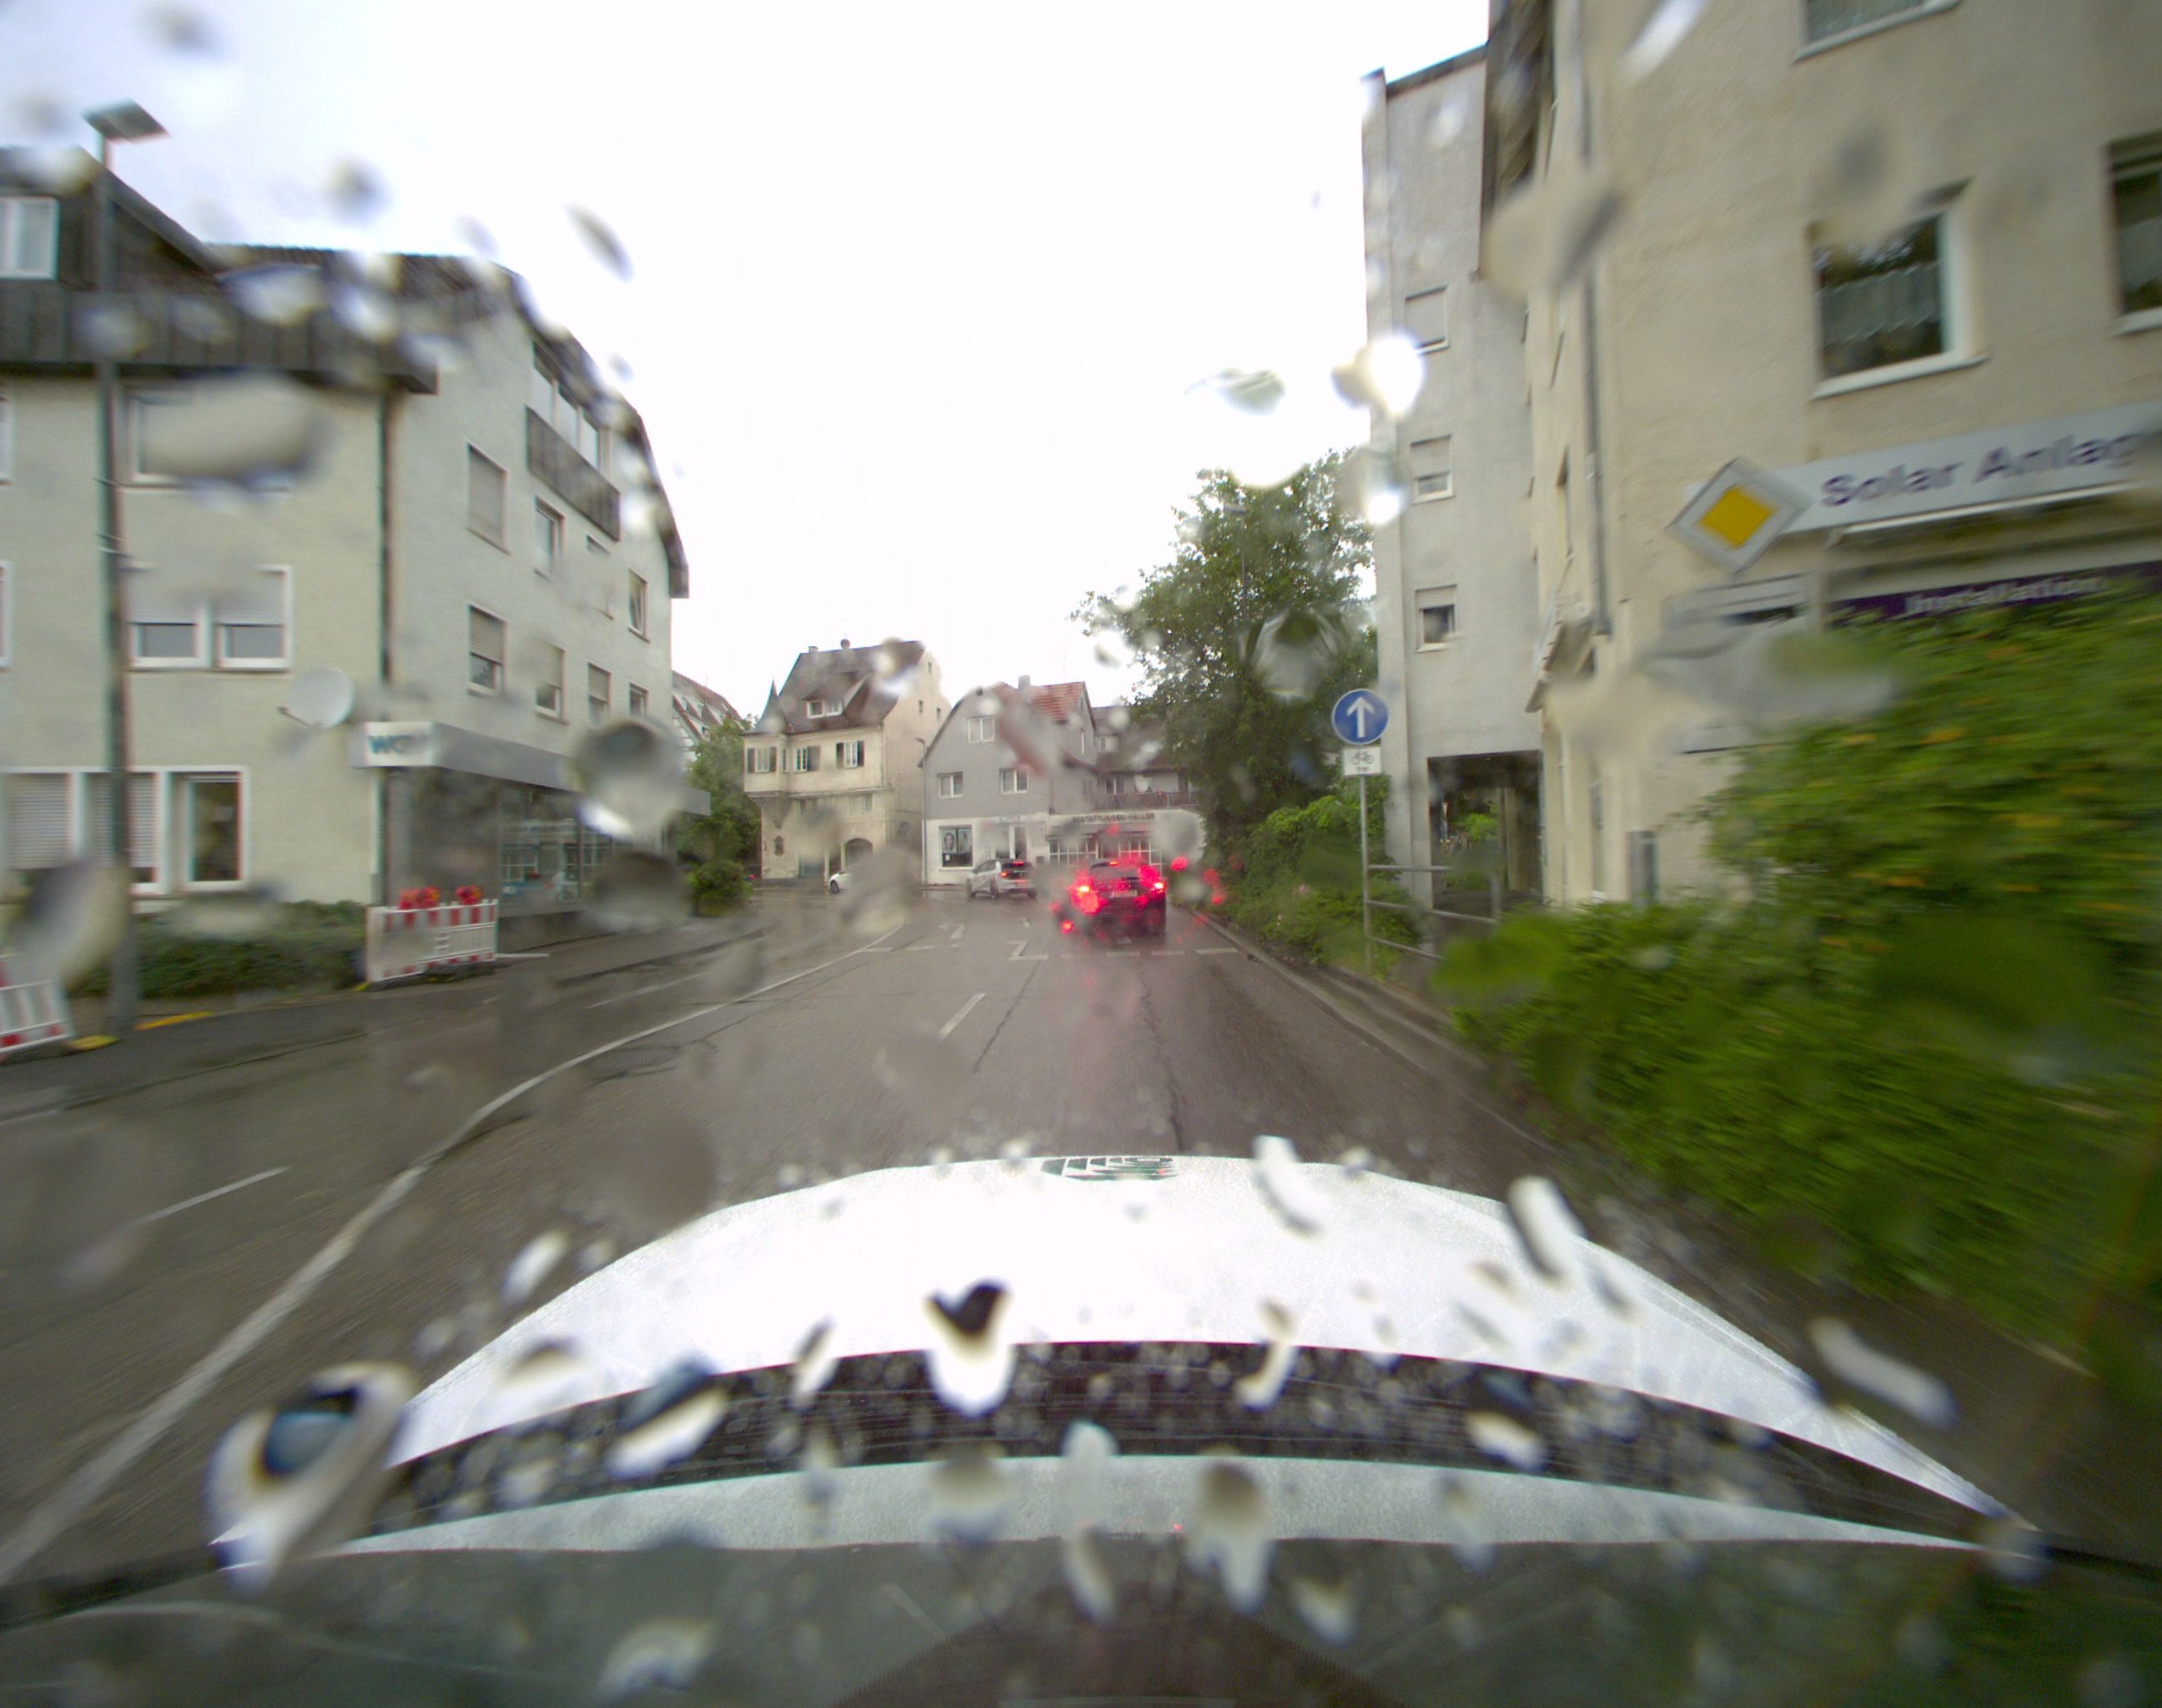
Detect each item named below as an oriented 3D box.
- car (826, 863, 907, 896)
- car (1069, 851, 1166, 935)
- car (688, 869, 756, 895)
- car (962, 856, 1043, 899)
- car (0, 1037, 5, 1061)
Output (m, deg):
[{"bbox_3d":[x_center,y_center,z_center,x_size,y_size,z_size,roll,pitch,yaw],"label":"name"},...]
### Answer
[{"bbox_3d":[-10.642,1.228,40.293,4.110,1.465,1.803,-1,1,39],"label":"car"},{"bbox_3d":[0.663,0.704,17.050,1.727,1.450,4.240,-2,1,0],"label":"car"},{"bbox_3d":[-20.467,1.574,46.386,3.720,1.361,1.533,-1,1,28],"label":"car"},{"bbox_3d":[-3.223,0.919,32.872,1.799,1.517,4.204,-3,0,-27],"label":"car"},{"bbox_3d":[-12.693,1.709,7.220,3.498,1.390,1.647,-9,2,-8],"label":"car"}]
